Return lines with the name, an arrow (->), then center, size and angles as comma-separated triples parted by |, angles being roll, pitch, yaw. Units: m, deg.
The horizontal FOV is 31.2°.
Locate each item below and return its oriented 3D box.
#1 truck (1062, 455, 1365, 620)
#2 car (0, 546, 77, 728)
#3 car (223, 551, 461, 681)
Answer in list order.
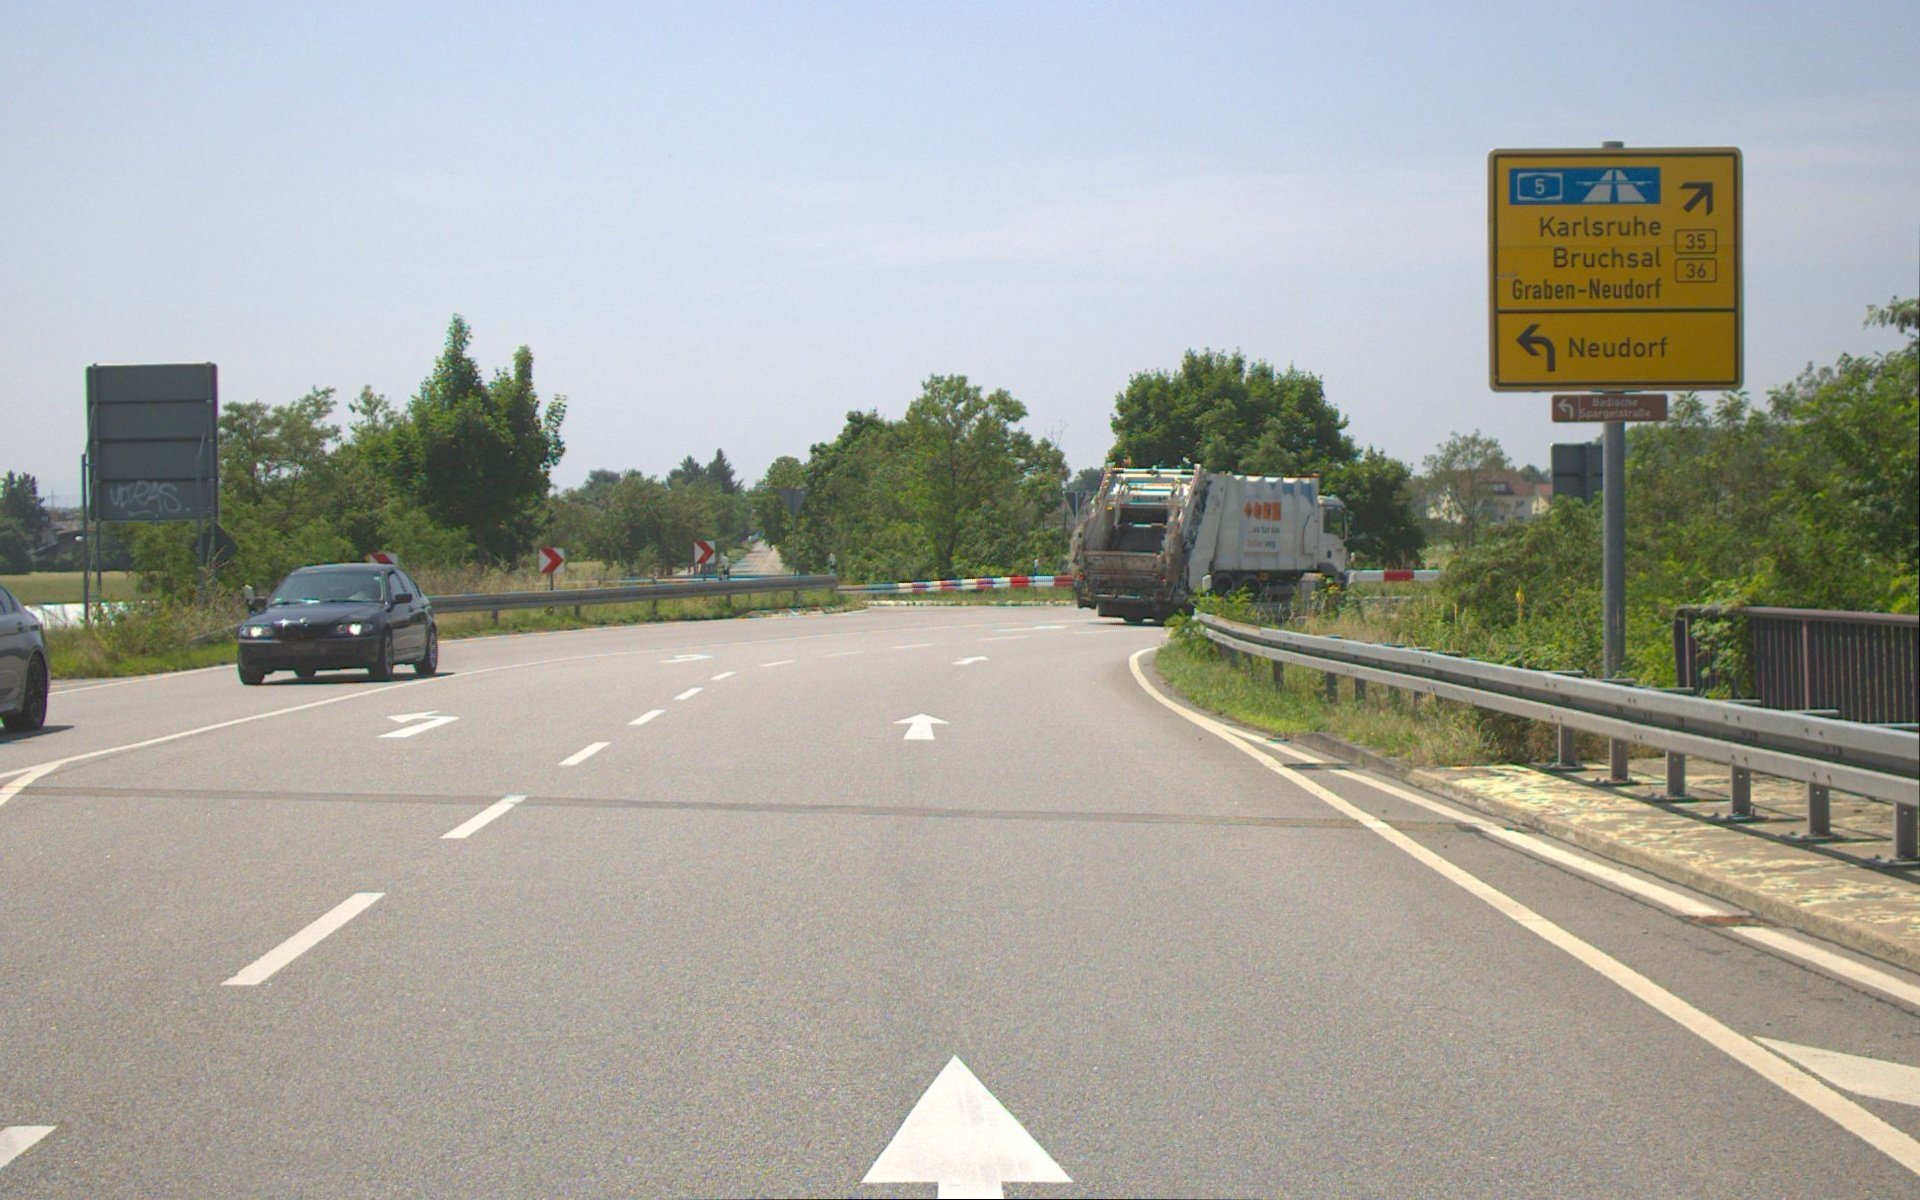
truck -> 6.117, -1.413, 80.999 | 2.818, 3.657, 9.930 | 1, 1, 32
car -> -8.597, 0.336, 27.622 | 1.724, 1.448, 4.795 | -2, 1, 0
car -> -7.464, 0.156, 41.945 | 1.735, 1.396, 4.380 | -2, 1, 5
